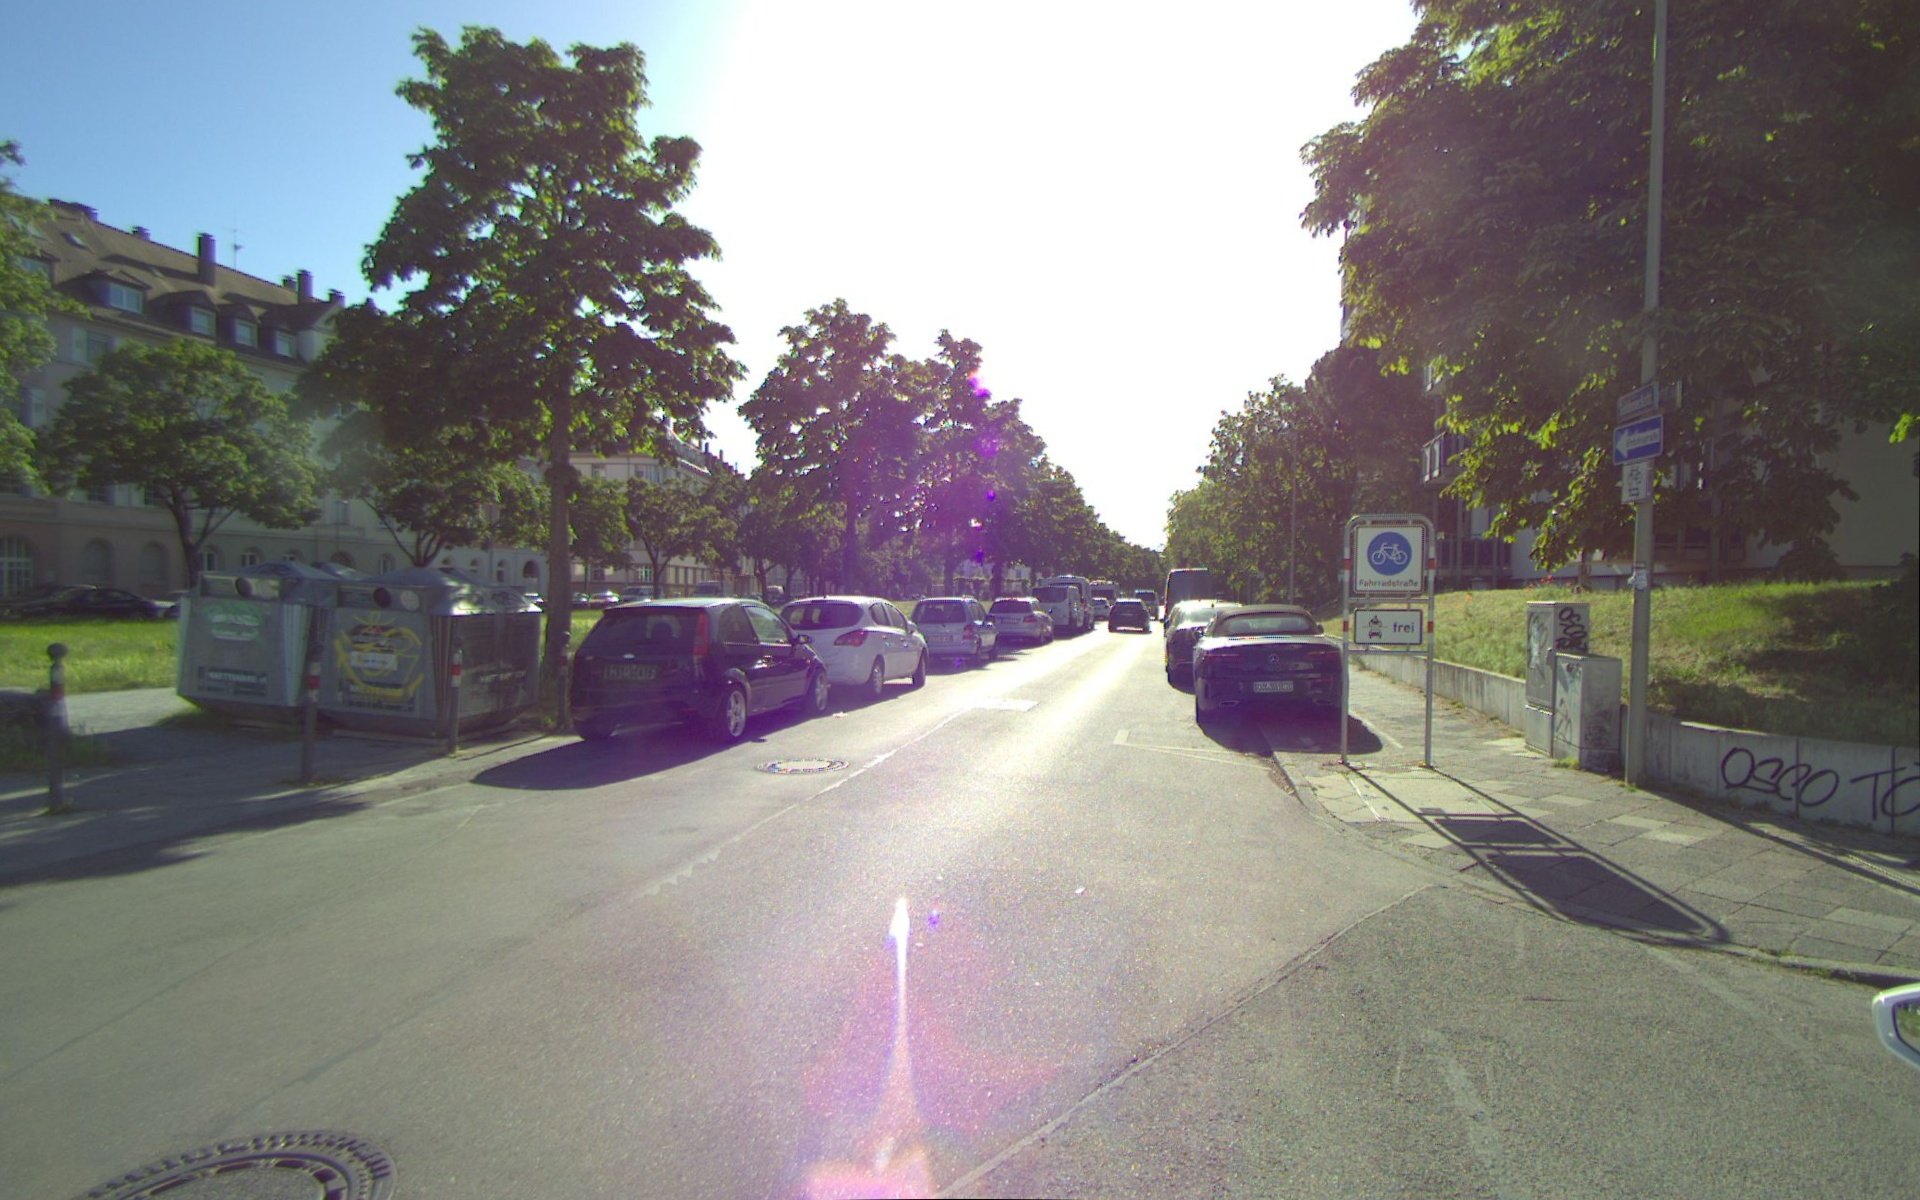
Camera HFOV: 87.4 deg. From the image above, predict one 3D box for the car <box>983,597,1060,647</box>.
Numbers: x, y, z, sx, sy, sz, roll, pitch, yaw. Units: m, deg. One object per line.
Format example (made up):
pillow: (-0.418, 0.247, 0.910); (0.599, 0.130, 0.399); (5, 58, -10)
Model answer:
car: (2.080, 0.667, 32.987); (1.802, 1.520, 4.128); (1, 0, 14)

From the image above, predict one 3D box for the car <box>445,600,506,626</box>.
car: (-28.064, 0.732, 58.291); (1.357, 1.459, 3.343); (1, 0, 13)

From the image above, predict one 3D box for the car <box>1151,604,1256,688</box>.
car: (4.708, 0.805, 19.482); (1.749, 1.389, 4.128); (1, 0, 14)

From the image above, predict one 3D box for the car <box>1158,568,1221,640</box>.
car: (9.189, 0.140, 40.565); (2.126, 2.725, 5.419); (1, 0, 9)

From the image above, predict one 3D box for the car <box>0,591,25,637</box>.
car: (-38.051, 0.531, 37.671); (1.815, 1.724, 4.002); (1, 0, 15)

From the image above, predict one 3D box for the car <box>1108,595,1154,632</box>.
car: (7.879, 0.602, 46.138); (1.749, 1.551, 4.002); (2, 1, 14)

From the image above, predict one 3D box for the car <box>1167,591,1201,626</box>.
car: (15.459, 0.538, 69.455); (2.126, 2.323, 5.268); (1, 0, 12)

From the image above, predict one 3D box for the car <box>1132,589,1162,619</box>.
car: (13.350, 0.280, 71.495); (1.862, 2.018, 4.012); (-1, 0, 14)

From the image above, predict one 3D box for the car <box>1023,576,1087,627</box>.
car: (3.961, 0.051, 41.241); (2.063, 1.969, 4.128); (1, 0, 13)

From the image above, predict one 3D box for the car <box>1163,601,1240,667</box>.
car: (6.095, 0.796, 25.707); (1.749, 1.507, 4.034); (1, 0, 11)

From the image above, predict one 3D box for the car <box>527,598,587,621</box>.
car: (-26.528, 0.612, 66.204); (1.814, 1.459, 3.776); (1, 0, 13)

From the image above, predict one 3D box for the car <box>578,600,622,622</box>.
car: (-25.240, 0.759, 70.546); (1.491, 1.459, 3.234); (1, 0, 10)

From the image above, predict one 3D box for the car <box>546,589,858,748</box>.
car: (-2.619, 0.668, 11.226); (1.718, 1.443, 3.918); (-1, -1, 14)

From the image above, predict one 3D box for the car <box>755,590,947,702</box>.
car: (-1.535, 0.653, 15.618); (1.747, 1.515, 3.877); (-1, -1, 14)

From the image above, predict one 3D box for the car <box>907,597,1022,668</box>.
car: (0.209, 0.686, 23.357); (1.749, 1.481, 4.128); (1, 0, 14)

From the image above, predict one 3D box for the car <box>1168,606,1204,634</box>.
car: (13.248, 1.124, 58.782); (1.954, 1.507, 4.128); (1, 0, 14)

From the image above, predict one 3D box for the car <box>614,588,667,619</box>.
car: (-24.182, 0.254, 76.217); (1.665, 2.243, 5.011); (1, 0, 10)

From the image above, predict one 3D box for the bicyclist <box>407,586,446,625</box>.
bicyclist: (-25.898, 0.290, 48.776); (0.925, 1.862, 1.450); (0, -1, 11)

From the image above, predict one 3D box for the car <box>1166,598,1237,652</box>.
car: (7.345, 0.698, 30.613); (1.954, 1.507, 4.128); (1, 0, 14)

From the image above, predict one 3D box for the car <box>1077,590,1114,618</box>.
car: (9.072, 0.279, 66.972); (1.976, 1.809, 4.128); (0, 0, 14)

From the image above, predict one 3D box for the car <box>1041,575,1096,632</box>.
car: (5.185, 0.139, 47.542); (2.063, 2.530, 4.128); (1, 0, 14)

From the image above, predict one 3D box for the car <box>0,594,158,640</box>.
car: (-32.602, 0.597, 37.186); (1.726, 1.570, 4.530); (1, 0, 10)

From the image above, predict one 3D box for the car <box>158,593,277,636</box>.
car: (-31.398, 0.597, 42.610); (1.603, 1.709, 4.083); (1, 0, 10)

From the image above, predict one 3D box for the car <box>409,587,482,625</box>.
car: (-32.572, 0.364, 63.763); (1.745, 2.289, 4.466); (1, 0, 11)

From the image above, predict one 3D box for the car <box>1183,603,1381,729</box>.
car: (4.132, 0.766, 13.500); (2.089, 1.355, 4.508); (-2, 0, 14)

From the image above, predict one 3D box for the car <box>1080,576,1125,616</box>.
car: (10.357, -0.288, 72.484); (2.572, 2.681, 6.117); (1, 0, 14)

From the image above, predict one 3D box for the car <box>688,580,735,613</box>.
car: (-21.793, -0.331, 88.447); (1.883, 2.780, 5.628); (1, 0, 10)
